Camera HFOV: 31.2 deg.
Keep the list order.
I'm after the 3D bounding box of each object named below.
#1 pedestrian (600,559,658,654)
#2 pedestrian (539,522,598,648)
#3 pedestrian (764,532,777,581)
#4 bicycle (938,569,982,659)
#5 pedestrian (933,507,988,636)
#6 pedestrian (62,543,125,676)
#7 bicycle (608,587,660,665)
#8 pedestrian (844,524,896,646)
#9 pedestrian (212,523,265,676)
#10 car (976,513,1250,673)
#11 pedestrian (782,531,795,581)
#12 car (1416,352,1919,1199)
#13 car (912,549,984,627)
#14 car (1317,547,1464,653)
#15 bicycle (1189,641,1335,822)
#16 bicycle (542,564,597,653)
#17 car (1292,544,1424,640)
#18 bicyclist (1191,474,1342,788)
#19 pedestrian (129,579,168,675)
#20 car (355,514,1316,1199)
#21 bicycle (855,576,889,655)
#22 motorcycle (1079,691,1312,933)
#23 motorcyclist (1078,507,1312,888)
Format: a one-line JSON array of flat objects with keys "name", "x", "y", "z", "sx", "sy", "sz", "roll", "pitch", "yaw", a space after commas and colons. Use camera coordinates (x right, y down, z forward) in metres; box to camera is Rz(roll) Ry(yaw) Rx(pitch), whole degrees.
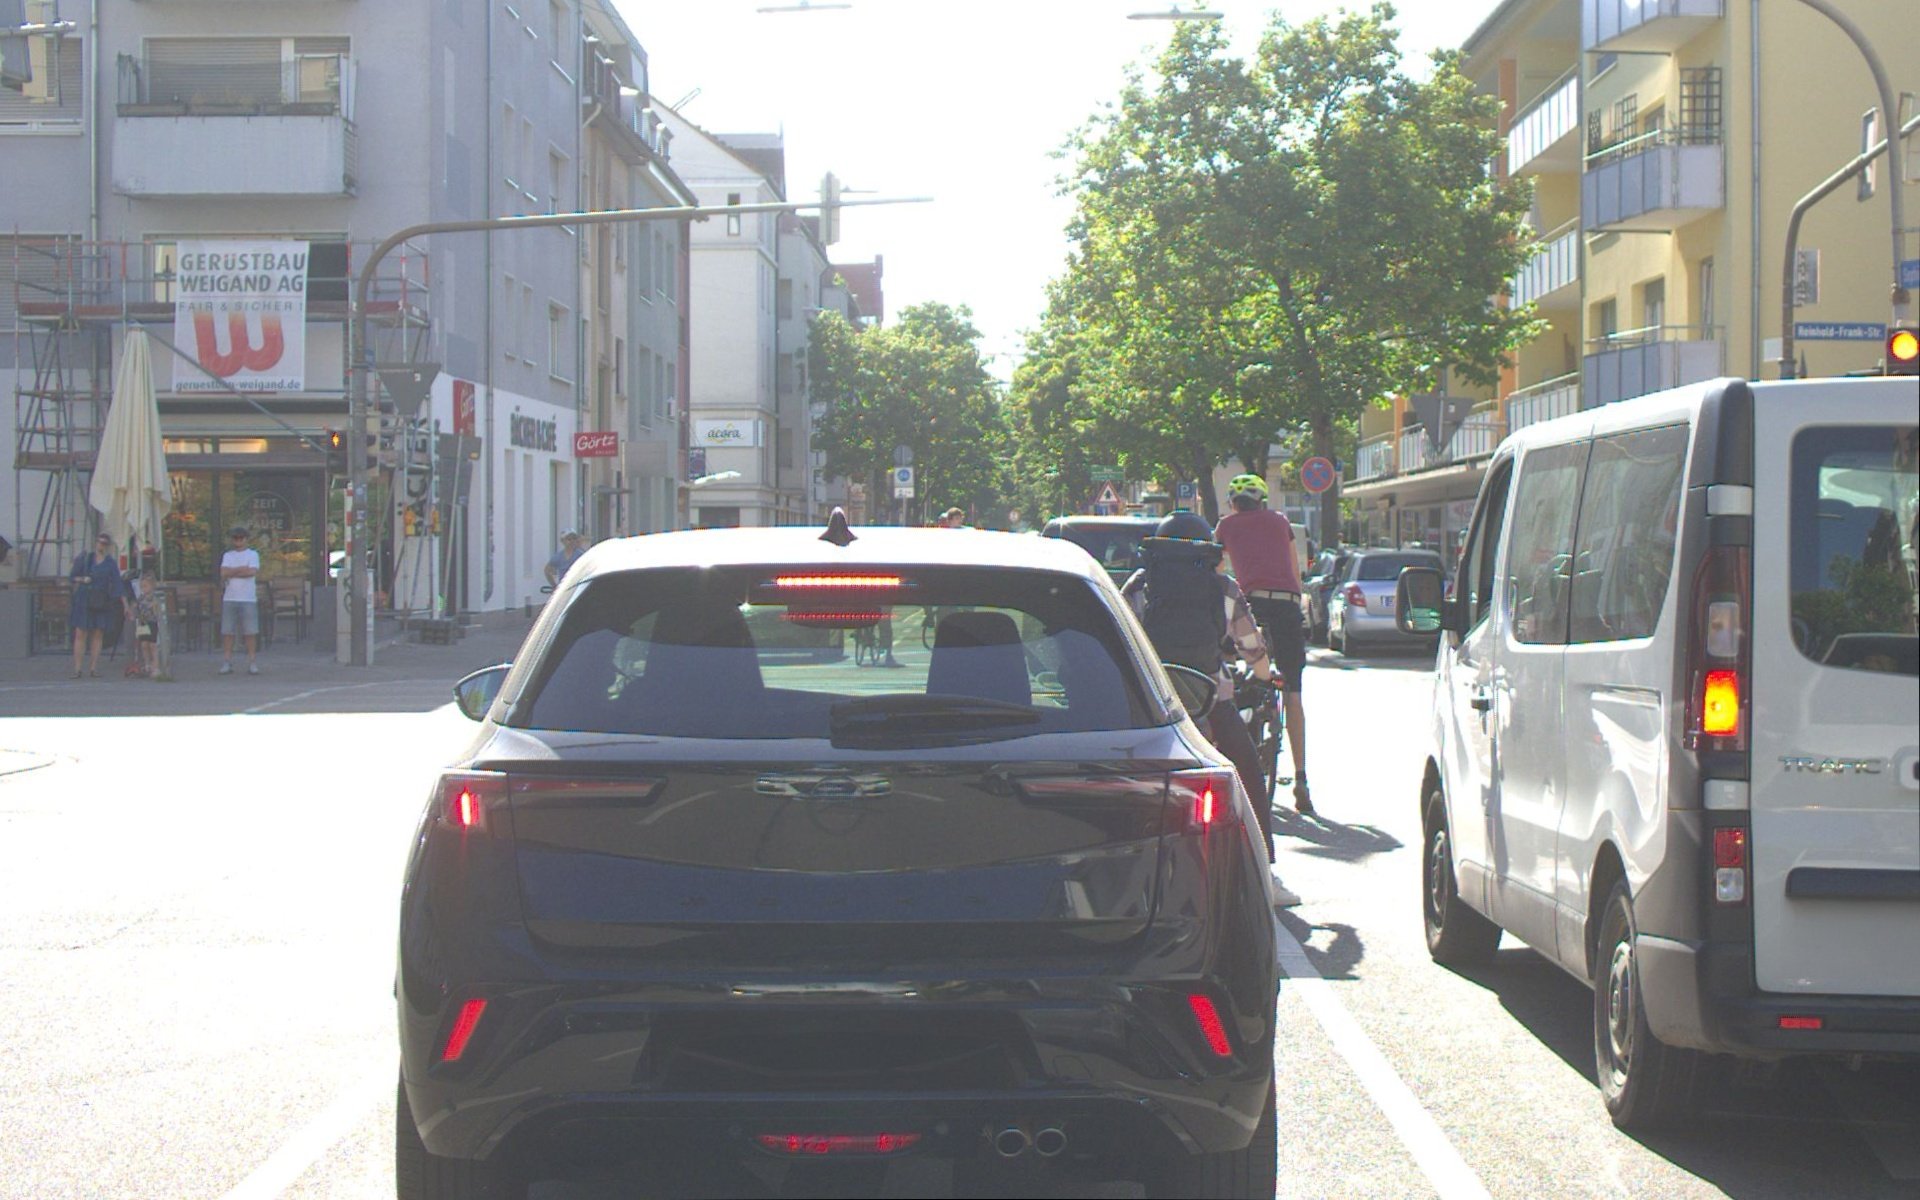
[{"name": "pedestrian", "x": -4.401, "y": 0.084, "z": 45.703, "sx": 0.707, "sy": 1.249, "sz": 0.802, "roll": 0, "pitch": 1, "yaw": -1}, {"name": "pedestrian", "x": -5.203, "y": -0.206, "z": 45.760, "sx": 0.707, "sy": 1.672, "sz": 0.802, "roll": 0, "pitch": 1, "yaw": -1}, {"name": "pedestrian", "x": -6.389, "y": -1.465, "z": 115.973, "sx": 0.402, "sy": 1.669, "sz": 0.418, "roll": 0, "pitch": 1, "yaw": 0}, {"name": "bicycle", "x": -0.007, "y": 0.171, "z": 45.723, "sx": 0.521, "sy": 1.143, "sz": 2.170, "roll": 0, "pitch": 1, "yaw": -1}, {"name": "pedestrian", "x": -0.001, "y": -0.384, "z": 45.760, "sx": 0.707, "sy": 1.695, "sz": 0.802, "roll": 0, "pitch": 1, "yaw": -1}, {"name": "pedestrian", "x": -9.975, "y": 0.102, "z": 39.599, "sx": 0.584, "sy": 1.516, "sz": 0.650, "roll": 0, "pitch": 1, "yaw": -2}, {"name": "bicycle", "x": -4.350, "y": 0.332, "z": 45.959, "sx": 0.521, "sy": 0.989, "sz": 2.339, "roll": 0, "pitch": 1, "yaw": -1}, {"name": "pedestrian", "x": -1.195, "y": -0.207, "z": 45.599, "sx": 0.680, "sy": 1.600, "sz": 0.762, "roll": 0, "pitch": 1, "yaw": -1}, {"name": "pedestrian", "x": -8.440, "y": -0.009, "z": 40.248, "sx": 0.561, "sy": 1.769, "sz": 0.584, "roll": 0, "pitch": 1, "yaw": -8}, {"name": "car", "x": 1.810, "y": -0.123, "z": 39.258, "sx": 1.904, "sy": 1.722, "sz": 4.069, "roll": 0, "pitch": 1, "yaw": 22}, {"name": "pedestrian", "x": -5.773, "y": -1.477, "z": 115.886, "sx": 0.402, "sy": 1.669, "sz": 0.418, "roll": 0, "pitch": 1, "yaw": 0}, {"name": "car", "x": 2.651, "y": 0.374, "z": 10.373, "sx": 1.993, "sy": 1.972, "sz": 4.895, "roll": 0, "pitch": 1, "yaw": 1}, {"name": "car", "x": -0.300, "y": -0.339, "z": 90.680, "sx": 1.849, "sy": 2.007, "sz": 4.000, "roll": 0, "pitch": 1, "yaw": 0}, {"name": "car", "x": 6.089, "y": -0.028, "z": 48.953, "sx": 1.634, "sy": 1.428, "sz": 3.957, "roll": 0, "pitch": 1, "yaw": 1}, {"name": "bicycle", "x": 1.699, "y": 0.719, "z": 19.616, "sx": 0.577, "sy": 0.901, "sz": 2.301, "roll": 0, "pitch": 1, "yaw": -1}, {"name": "bicycle", "x": -5.211, "y": 0.105, "z": 45.991, "sx": 0.521, "sy": 1.143, "sz": 2.284, "roll": 0, "pitch": 1, "yaw": -1}, {"name": "car", "x": 6.195, "y": -0.148, "z": 53.835, "sx": 1.634, "sy": 1.428, "sz": 4.000, "roll": 0, "pitch": 1, "yaw": 0}, {"name": "bicyclist", "x": 1.713, "y": 0.158, "z": 19.405, "sx": 0.689, "sy": 1.707, "sz": 1.414, "roll": 0, "pitch": 1, "yaw": -1}, {"name": "pedestrian", "x": -9.349, "y": 0.305, "z": 39.598, "sx": 0.355, "sy": 1.088, "sz": 0.462, "roll": 0, "pitch": 1, "yaw": -2}, {"name": "car", "x": -0.277, "y": 0.571, "z": 8.369, "sx": 1.770, "sy": 1.525, "sz": 4.000, "roll": 0, "pitch": 1, "yaw": -1}, {"name": "bicycle", "x": -1.164, "y": 0.194, "z": 45.619, "sx": 0.443, "sy": 0.989, "sz": 2.069, "roll": 0, "pitch": 1, "yaw": -1}, {"name": "motorcycle", "x": 0.934, "y": 0.837, "z": 14.114, "sx": 0.825, "sy": 0.842, "sz": 1.885, "roll": 0, "pitch": 1, "yaw": 0}, {"name": "motorcyclist", "x": 0.943, "y": 0.374, "z": 14.088, "sx": 0.864, "sy": 1.497, "sz": 1.160, "roll": 0, "pitch": 1, "yaw": 0}]
